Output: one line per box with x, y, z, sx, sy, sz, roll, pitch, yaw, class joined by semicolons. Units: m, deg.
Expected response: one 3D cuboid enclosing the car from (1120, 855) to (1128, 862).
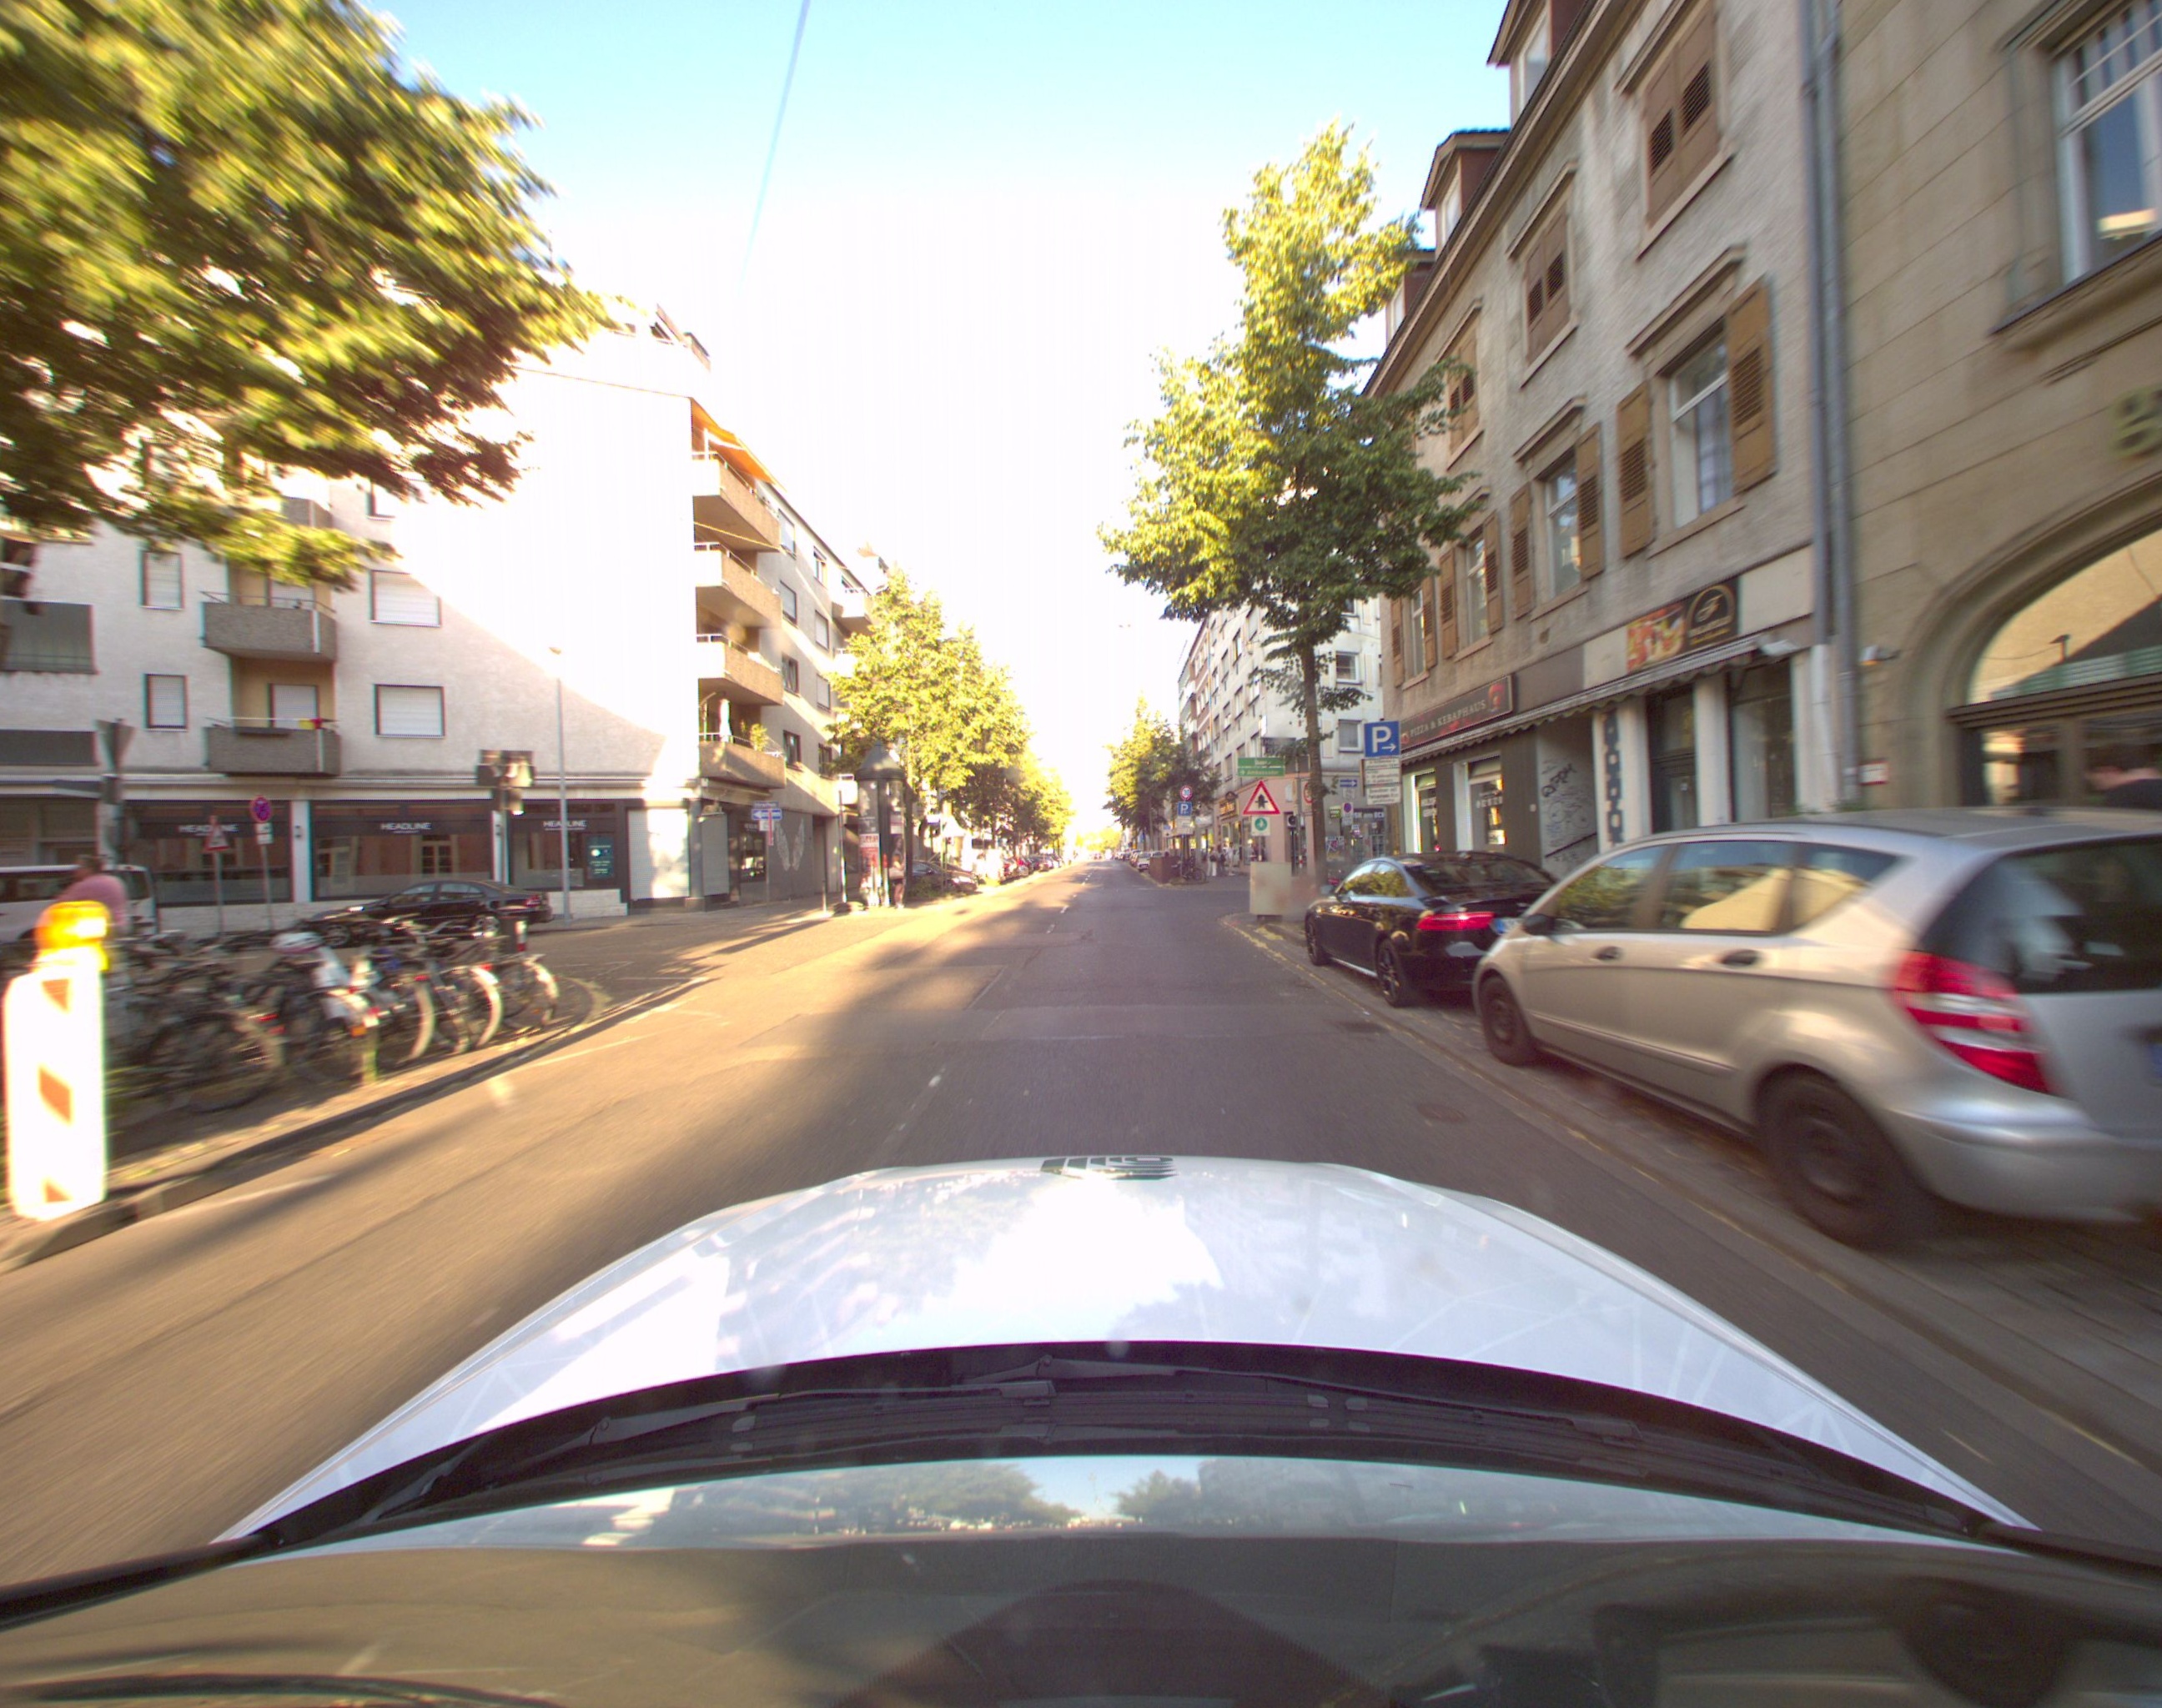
8.414;0.919;158.576;1.507;1.263;3.306;-1;0;3;car

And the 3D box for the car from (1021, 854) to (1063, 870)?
-4.353;0.888;90.812;4.425;1.759;1.920;-1;0;2;car

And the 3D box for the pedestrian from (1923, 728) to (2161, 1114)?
5.558;0.299;4.367;0.820;1.854;1.097;-4;0;0;pedestrian

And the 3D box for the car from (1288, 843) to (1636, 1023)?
3.758;0.654;9.066;1.778;1.375;4.525;-4;0;1;car

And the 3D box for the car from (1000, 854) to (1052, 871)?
-4.913;0.790;73.439;4.425;1.448;1.920;-1;0;2;car

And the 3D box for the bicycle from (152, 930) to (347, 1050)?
-7.301;1.179;7.171;1.318;0.980;0.445;-1;-1;5;bicycle

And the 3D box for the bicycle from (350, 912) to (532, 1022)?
-6.712;1.170;8.583;1.484;1.059;0.470;-1;-1;-5;bicycle

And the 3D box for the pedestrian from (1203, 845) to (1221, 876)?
6.903;0.341;42.912;0.791;1.625;0.915;-2;0;14;pedestrian

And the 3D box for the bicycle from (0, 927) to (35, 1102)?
-8.005;1.079;5.401;1.675;1.149;0.445;-1;-1;5;bicycle

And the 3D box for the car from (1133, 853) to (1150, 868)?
5.984;0.640;81.017;1.507;1.406;3.839;-1;0;3;car

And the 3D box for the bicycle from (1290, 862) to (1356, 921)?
4.917;0.735;16.692;0.775;1.111;1.900;-3;-1;2;bicycle

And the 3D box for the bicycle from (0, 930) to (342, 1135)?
-5.838;1.080;5.209;1.554;1.116;0.440;1;-1;-31;bicycle

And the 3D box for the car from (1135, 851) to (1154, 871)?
5.335;0.587;68.954;1.507;1.578;3.220;-1;0;3;car

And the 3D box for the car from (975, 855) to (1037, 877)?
-5.709;0.922;62.213;4.425;1.568;1.920;-1;0;2;car

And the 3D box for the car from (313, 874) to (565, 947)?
-14.837;1.252;19.164;4.211;1.380;1.986;-2;0;-22;car

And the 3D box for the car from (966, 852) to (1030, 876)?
-6.048;0.743;59.990;4.425;1.638;1.860;-1;0;2;car

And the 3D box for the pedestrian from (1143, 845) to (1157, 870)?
5.373;0.270;63.283;0.916;1.926;1.014;0;0;-8;pedestrian

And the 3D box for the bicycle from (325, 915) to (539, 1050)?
-5.780;1.117;7.271;1.672;1.079;0.445;1;-1;9;bicycle

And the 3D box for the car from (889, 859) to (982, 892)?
-6.659;0.979;37.598;3.773;1.391;2.046;-1;-1;4;car

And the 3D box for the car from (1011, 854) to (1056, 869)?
-4.895;0.779;84.319;4.425;1.523;1.920;-1;0;2;car

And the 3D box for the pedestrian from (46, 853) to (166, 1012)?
-11.206;0.874;9.388;0.504;1.737;0.719;-1;-2;-8;pedestrian

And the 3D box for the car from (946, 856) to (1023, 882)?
-5.919;0.902;50.348;4.425;1.506;1.845;-1;0;2;car

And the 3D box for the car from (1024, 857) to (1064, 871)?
-4.264;1.096;93.931;4.425;1.499;1.920;-1;0;2;car

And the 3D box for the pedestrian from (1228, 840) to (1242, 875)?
8.104;0.170;42.888;0.693;1.805;0.894;-2;0;10;pedestrian

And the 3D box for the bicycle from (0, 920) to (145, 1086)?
-8.011;1.086;6.063;1.675;1.149;0.445;-1;-1;5;bicycle

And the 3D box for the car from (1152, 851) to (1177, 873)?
5.712;0.520;56.131;1.536;1.433;3.681;-1;0;3;car

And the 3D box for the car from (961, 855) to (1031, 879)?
-5.672;0.859;54.915;4.425;1.484;1.810;-1;0;2;car

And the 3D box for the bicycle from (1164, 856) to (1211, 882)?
4.707;0.674;36.154;1.935;1.074;0.710;-2;0;33;bicycle

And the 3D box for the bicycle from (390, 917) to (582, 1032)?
-5.845;1.161;8.013;1.672;1.021;0.445;1;-1;9;bicycle

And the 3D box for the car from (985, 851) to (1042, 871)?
-5.495;0.563;66.928;4.425;1.568;1.920;-1;0;2;car

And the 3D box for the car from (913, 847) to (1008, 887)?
-6.239;0.657;42.505;4.555;1.962;1.991;-1;0;1;car

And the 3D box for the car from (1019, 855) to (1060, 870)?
-4.500;0.941;88.711;4.287;1.598;1.920;-1;0;2;car

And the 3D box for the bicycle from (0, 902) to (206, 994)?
-14.718;1.379;12.303;1.949;1.193;0.580;-1;-2;-32;bicycle

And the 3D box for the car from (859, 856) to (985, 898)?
-6.201;0.880;32.131;4.531;1.541;1.811;-1;0;0;car

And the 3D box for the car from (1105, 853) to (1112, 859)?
6.771;0.519;201.237;1.714;1.475;3.306;-2;-1;3;car

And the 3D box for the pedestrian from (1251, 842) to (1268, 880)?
7.726;0.293;35.254;0.565;1.584;0.664;-3;1;2;pedestrian

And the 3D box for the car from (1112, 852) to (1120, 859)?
8.267;0.278;192.844;1.745;1.540;3.306;-2;-1;3;car

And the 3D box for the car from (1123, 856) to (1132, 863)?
8.069;0.925;140.383;1.507;1.276;3.306;-1;0;3;car

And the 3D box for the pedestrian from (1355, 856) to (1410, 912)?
6.619;0.649;17.945;0.679;1.141;1.361;-3;-2;2;pedestrian

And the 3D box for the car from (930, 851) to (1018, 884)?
-5.918;0.748;45.349;4.553;1.698;2.061;-1;0;2;car

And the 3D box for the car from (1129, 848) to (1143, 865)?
6.287;0.334;92.773;1.507;1.864;4.238;-1;0;3;car

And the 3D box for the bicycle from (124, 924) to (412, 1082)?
-6.054;1.092;6.105;1.677;1.079;0.444;1;-1;1;bicycle

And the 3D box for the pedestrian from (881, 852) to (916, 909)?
-5.571;0.788;24.892;0.706;1.686;0.836;-2;0;11;pedestrian

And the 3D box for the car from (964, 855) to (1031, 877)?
-5.813;0.840;57.226;4.425;1.458;1.860;-1;0;2;car

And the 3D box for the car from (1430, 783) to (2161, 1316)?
3.617;0.558;4.491;1.680;1.575;4.015;-4;0;2;car

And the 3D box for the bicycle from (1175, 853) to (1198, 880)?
4.898;0.559;37.612;0.593;1.178;1.856;-2;0;21;bicycle

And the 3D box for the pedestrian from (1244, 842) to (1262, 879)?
7.599;0.274;36.022;0.565;1.599;0.664;-3;1;2;pedestrian

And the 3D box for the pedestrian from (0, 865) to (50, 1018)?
-11.958;0.955;8.880;0.504;1.650;0.719;-1;-2;-8;pedestrian

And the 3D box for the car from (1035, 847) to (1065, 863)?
-4.885;0.164;128.302;4.425;2.435;1.920;-1;0;2;car

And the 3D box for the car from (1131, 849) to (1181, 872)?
5.615;0.470;60.890;1.654;1.588;3.846;-1;0;44;car

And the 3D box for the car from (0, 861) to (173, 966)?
-21.618;1.214;16.019;4.538;1.946;2.053;-2;-1;-26;car

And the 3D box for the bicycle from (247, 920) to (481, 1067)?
-5.877;1.116;6.693;1.672;1.079;0.445;1;-1;9;bicycle

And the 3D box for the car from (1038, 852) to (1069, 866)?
-3.974;0.762;118.333;4.425;1.959;1.920;-1;0;2;car

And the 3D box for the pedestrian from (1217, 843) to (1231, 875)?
7.519;0.248;42.807;0.627;1.680;0.894;-2;0;11;pedestrian

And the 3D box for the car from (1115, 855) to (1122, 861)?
8.324;0.995;181.393;1.507;1.298;3.306;-1;0;3;car

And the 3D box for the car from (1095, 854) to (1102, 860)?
4.347;0.748;200.542;1.745;1.540;3.306;-2;-1;3;car
